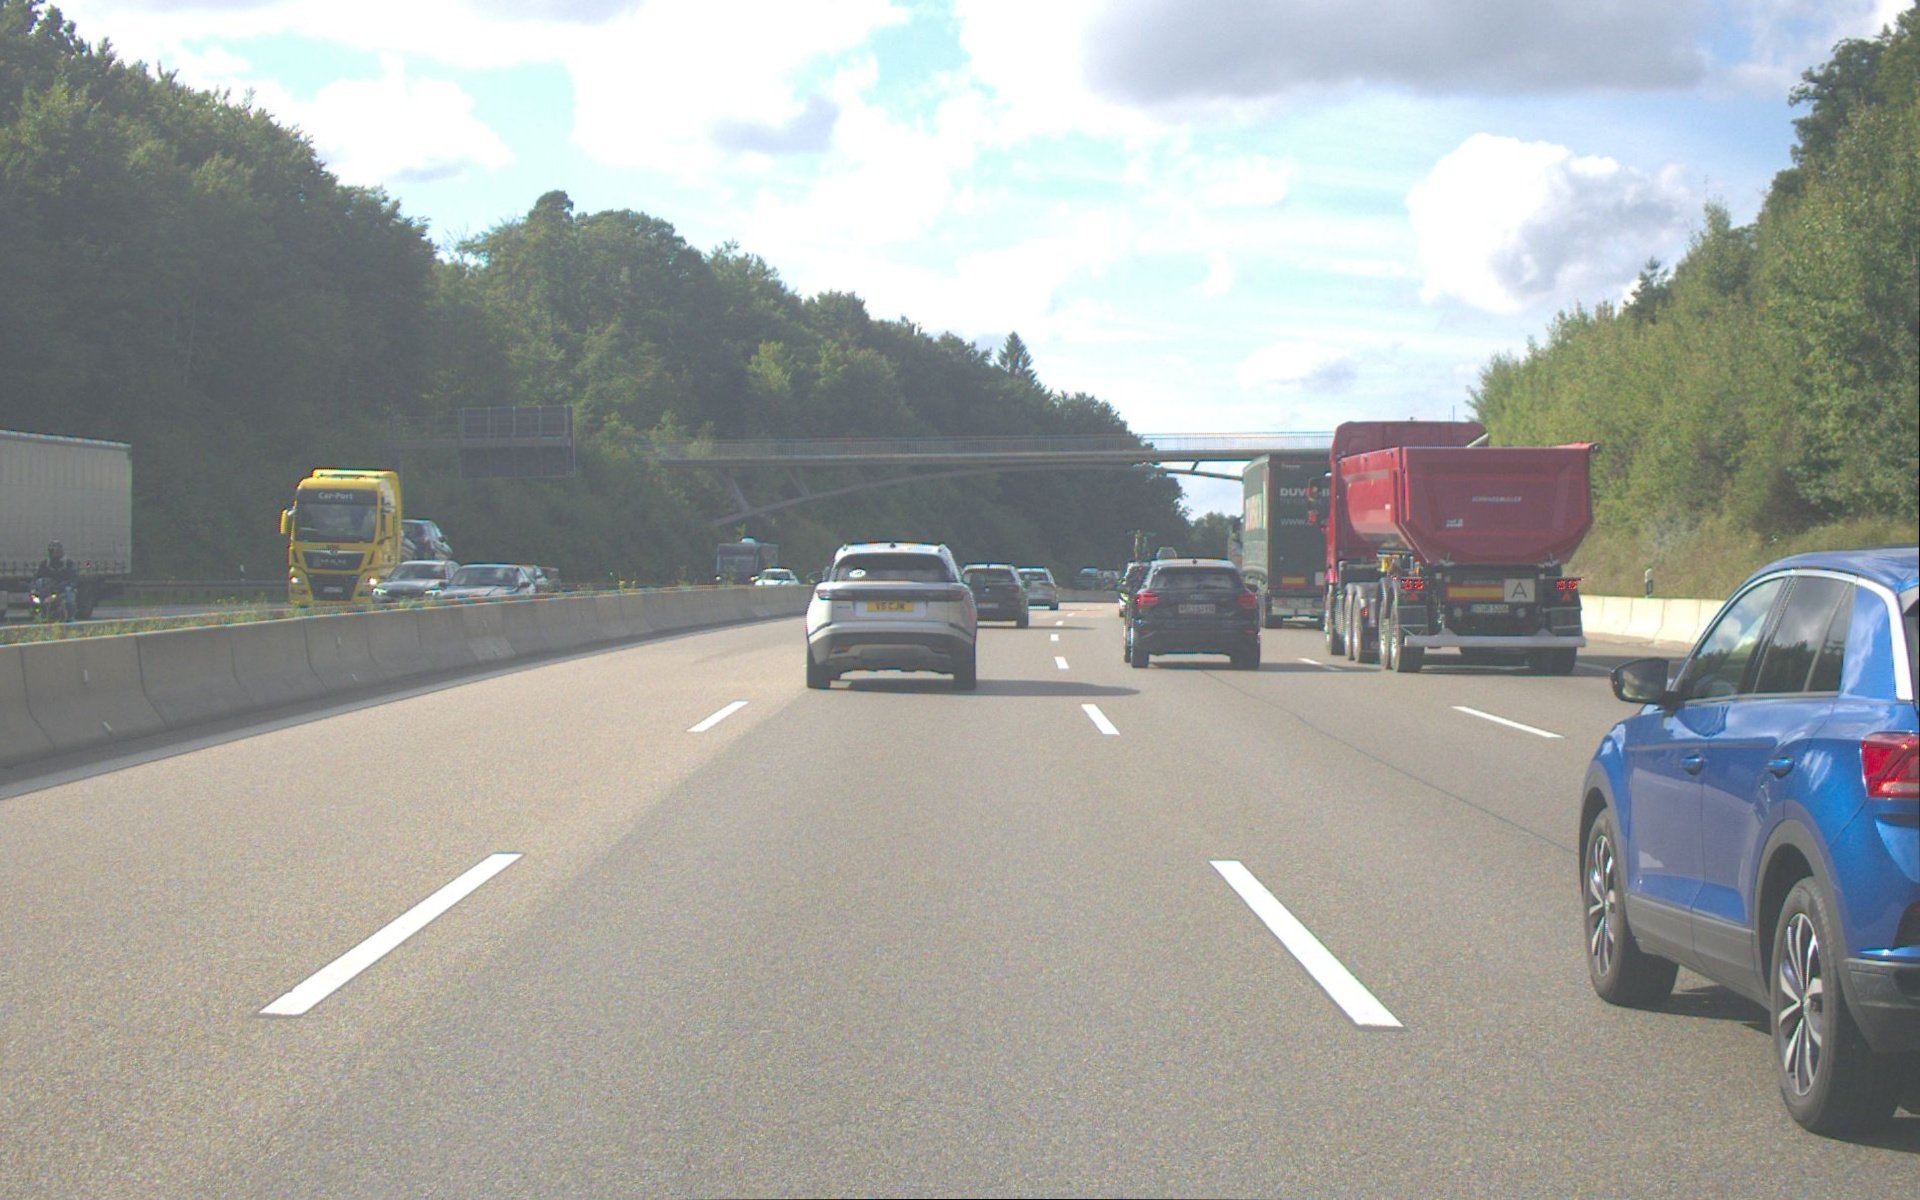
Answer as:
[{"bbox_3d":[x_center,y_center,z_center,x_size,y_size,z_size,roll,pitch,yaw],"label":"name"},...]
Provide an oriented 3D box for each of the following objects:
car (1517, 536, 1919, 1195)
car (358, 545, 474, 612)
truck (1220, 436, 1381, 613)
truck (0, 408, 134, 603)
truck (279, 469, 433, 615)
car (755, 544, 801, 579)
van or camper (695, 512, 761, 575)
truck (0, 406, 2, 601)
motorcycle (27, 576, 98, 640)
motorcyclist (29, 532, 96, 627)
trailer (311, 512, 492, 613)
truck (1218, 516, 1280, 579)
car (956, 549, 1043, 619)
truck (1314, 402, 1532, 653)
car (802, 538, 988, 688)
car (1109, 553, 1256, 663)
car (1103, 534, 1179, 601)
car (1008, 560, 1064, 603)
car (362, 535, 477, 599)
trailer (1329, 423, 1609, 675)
[{"bbox_3d":[2.939,0.573,10.207,1.773,1.525,4.458,0,1,-1],"label":"car"},{"bbox_3d":[-11.108,-0.466,70.405,1.684,1.303,4.198,1,1,0],"label":"car"},{"bbox_3d":[7.988,-1.766,81.914,3.119,3.921,10.411,1,1,2],"label":"truck"},{"bbox_3d":[-21.149,-2.029,74.868,2.706,4.054,13.088,1,1,2],"label":"truck"},{"bbox_3d":[-16.343,-1.568,93.509,2.776,3.797,7.134,1,1,1],"label":"truck"},{"bbox_3d":[-8.345,-1.773,157.709,1.815,1.530,4.316,1,1,1],"label":"car"},{"bbox_3d":[-11.717,-2.882,174.258,2.559,3.115,7.334,1,1,2],"label":"van or camper"},{"bbox_3d":[-21.384,-1.961,68.182,2.706,4.054,6.598,1,1,2],"label":"truck"},{"bbox_3d":[-14.008,0.114,53.703,0.482,0.953,2.251,1,1,1],"label":"motorcycle"},{"bbox_3d":[-14.023,-0.322,53.748,0.754,1.471,1.075,1,1,0],"label":"motorcyclist"},{"bbox_3d":[-16.161,-1.142,100.501,2.776,2.710,13.312,1,1,1],"label":"trailer"},{"bbox_3d":[13.903,-2.491,165.168,2.845,2.915,8.384,1,1,5],"label":"truck"},{"bbox_3d":[0.937,-0.385,79.389,1.822,1.541,4.000,2,1,3],"label":"car"},{"bbox_3d":[7.197,-1.133,54.112,2.710,3.706,5.817,1,1,1],"label":"truck"},{"bbox_3d":[-0.695,0.097,40.366,2.006,1.610,5.301,1,1,1],"label":"car"},{"bbox_3d":[3.091,0.078,48.474,1.822,1.452,4.000,1,1,0],"label":"car"},{"bbox_3d":[5.140,-0.948,98.013,1.893,1.850,4.101,1,1,0],"label":"car"},{"bbox_3d":[2.653,-0.655,119.528,1.822,1.452,4.000,1,1,3],"label":"car"},{"bbox_3d":[-13.188,-0.826,84.148,1.993,1.481,4.983,1,1,0],"label":"car"},{"bbox_3d":[7.084,-0.744,49.206,2.710,3.220,9.732,1,1,1],"label":"trailer"}]
